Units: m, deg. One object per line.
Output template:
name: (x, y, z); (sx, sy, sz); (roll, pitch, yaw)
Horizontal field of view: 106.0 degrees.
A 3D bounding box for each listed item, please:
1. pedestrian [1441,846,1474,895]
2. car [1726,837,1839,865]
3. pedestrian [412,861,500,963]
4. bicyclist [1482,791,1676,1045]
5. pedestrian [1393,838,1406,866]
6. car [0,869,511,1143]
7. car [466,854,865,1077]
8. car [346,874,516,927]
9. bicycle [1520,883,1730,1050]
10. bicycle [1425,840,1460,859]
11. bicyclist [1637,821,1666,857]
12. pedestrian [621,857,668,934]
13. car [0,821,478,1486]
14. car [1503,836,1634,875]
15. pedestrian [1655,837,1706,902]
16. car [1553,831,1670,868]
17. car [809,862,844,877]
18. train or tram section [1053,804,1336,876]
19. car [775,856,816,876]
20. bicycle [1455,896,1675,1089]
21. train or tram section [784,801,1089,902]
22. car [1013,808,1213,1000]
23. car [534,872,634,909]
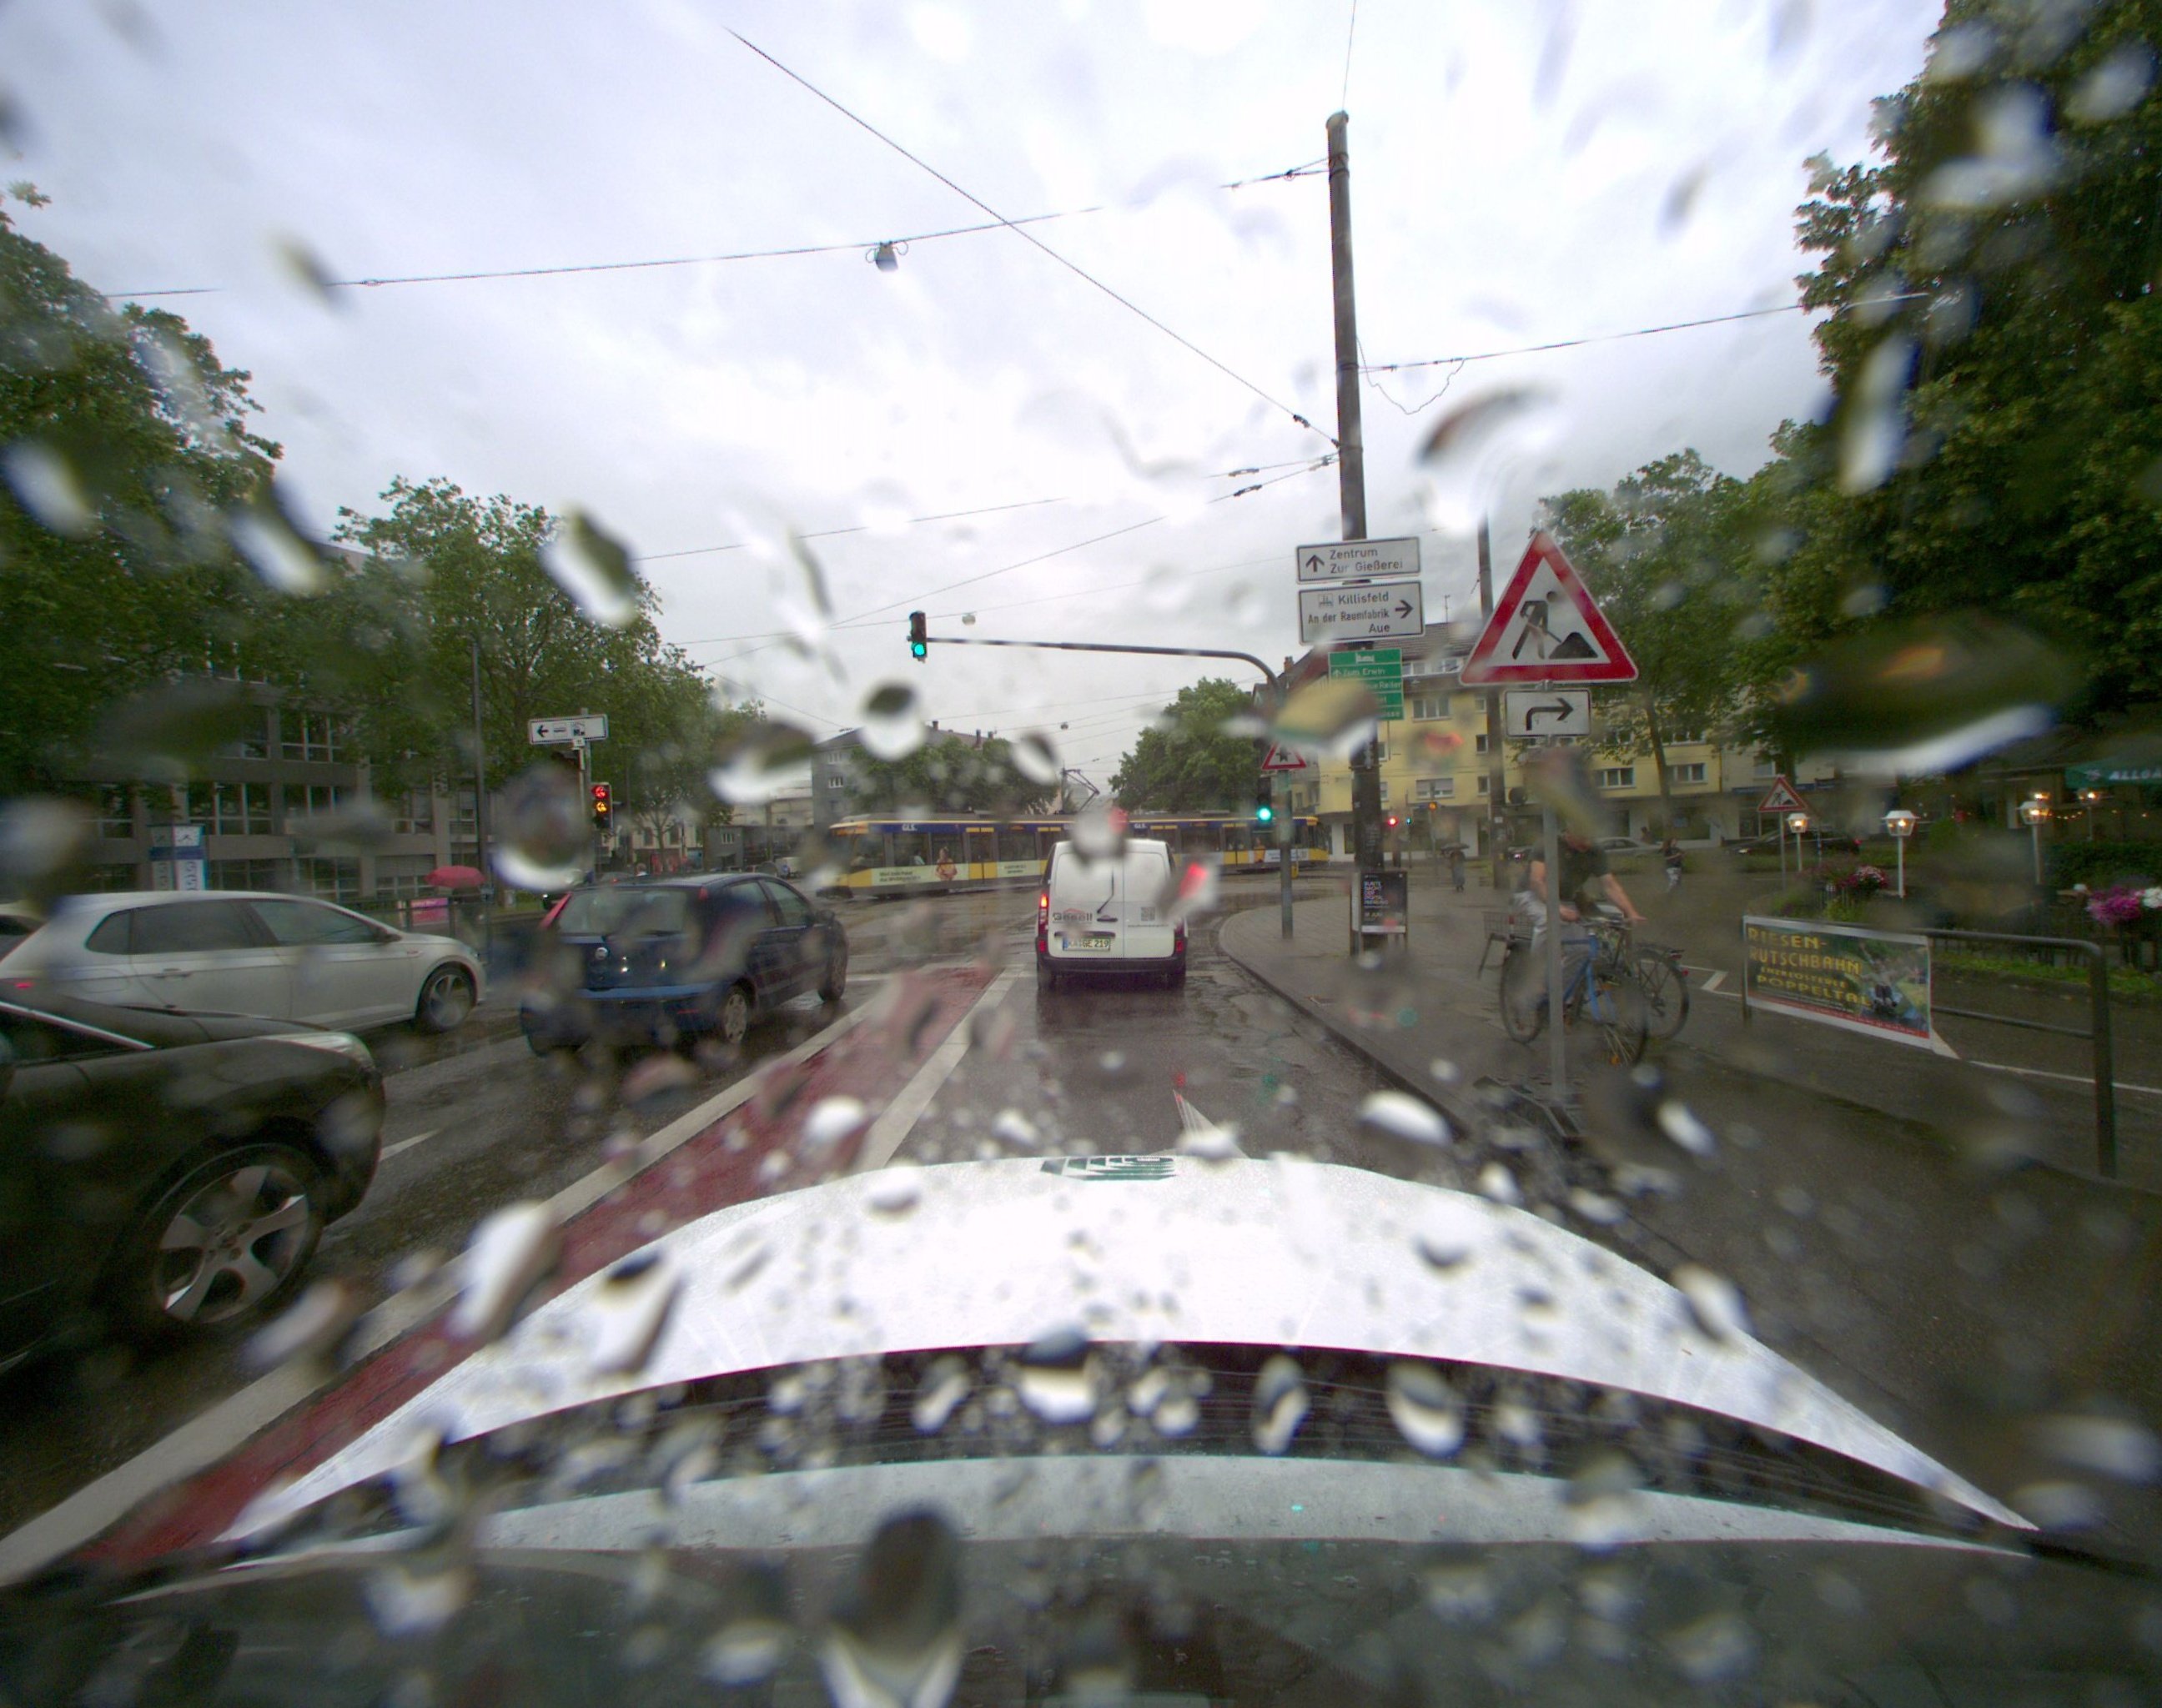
pedestrian: (12.063, 0.510, 26.112); (0.820, 1.534, 0.616); (-1, -1, -37)
car: (29.279, -0.122, 34.037); (3.511, 1.082, 1.248); (-1, 0, 4)
pedestrian: (-11.411, 1.038, 14.899); (0.763, 1.746, 0.899); (-4, 1, 1)
bicyclist: (3.354, 0.404, 5.583); (0.872, 1.583, 0.863); (-1, 0, 12)
pedestrian: (16.856, -0.110, 43.112); (0.615, 1.500, 0.555); (-1, -1, 21)
car: (-6.763, 0.912, 6.532); (1.623, 1.494, 3.783); (-1, 0, 2)
car: (-3.501, 0.808, 7.763); (1.720, 1.578, 3.822); (-1, 0, 2)
car: (-18.604, 1.277, 23.494); (1.582, 1.314, 3.538); (-1, 0, 16)
bicycle: (4.469, 0.847, 6.882); (0.512, 1.107, 2.018); (1, 0, 3)
bicycle: (24.326, -0.296, 54.865); (2.085, 1.261, 0.534); (-1, 1, 16)
bicyclist: (26.476, -0.684, 37.787); (0.811, 1.615, 0.711); (-1, 0, 2)
pedestrian: (-9.329, 0.866, 17.412); (0.624, 1.607, 0.741); (-1, 0, -5)
car: (-3.654, 0.765, 1.527); (1.827, 1.668, 4.174); (-1, 0, 2)
car: (22.852, 0.111, 38.379); (4.902, 1.643, 2.007); (-1, -3, 14)
pedestrian: (15.778, 0.402, 21.453); (0.896, 1.669, 1.026); (-1, 0, 27)
car: (22.855, -0.197, 35.230); (3.906, 1.490, 1.815); (-1, 1, 17)
car: (-27.563, 1.678, 88.260); (1.516, 1.448, 3.423); (-1, 1, 28)
train or tram section: (6.359, -0.678, 43.708); (15.523, 3.413, 3.524); (0, 0, -24)
car: (-30.799, 1.263, 88.042); (1.622, 2.133, 4.128); (-1, 0, 28)
bicycle: (3.267, 0.859, 5.718); (0.457, 1.027, 1.902); (-2, 0, 2)
train or tram section: (-5.416, -0.075, 34.789); (3.479, 3.512, 13.744); (0, 0, 41)
car: (0.419, 0.555, 11.218); (2.092, 2.012, 4.965); (-2, -1, 2)
car: (-20.996, 1.495, 34.599); (1.638, 1.387, 4.002); (-1, 0, 2)
